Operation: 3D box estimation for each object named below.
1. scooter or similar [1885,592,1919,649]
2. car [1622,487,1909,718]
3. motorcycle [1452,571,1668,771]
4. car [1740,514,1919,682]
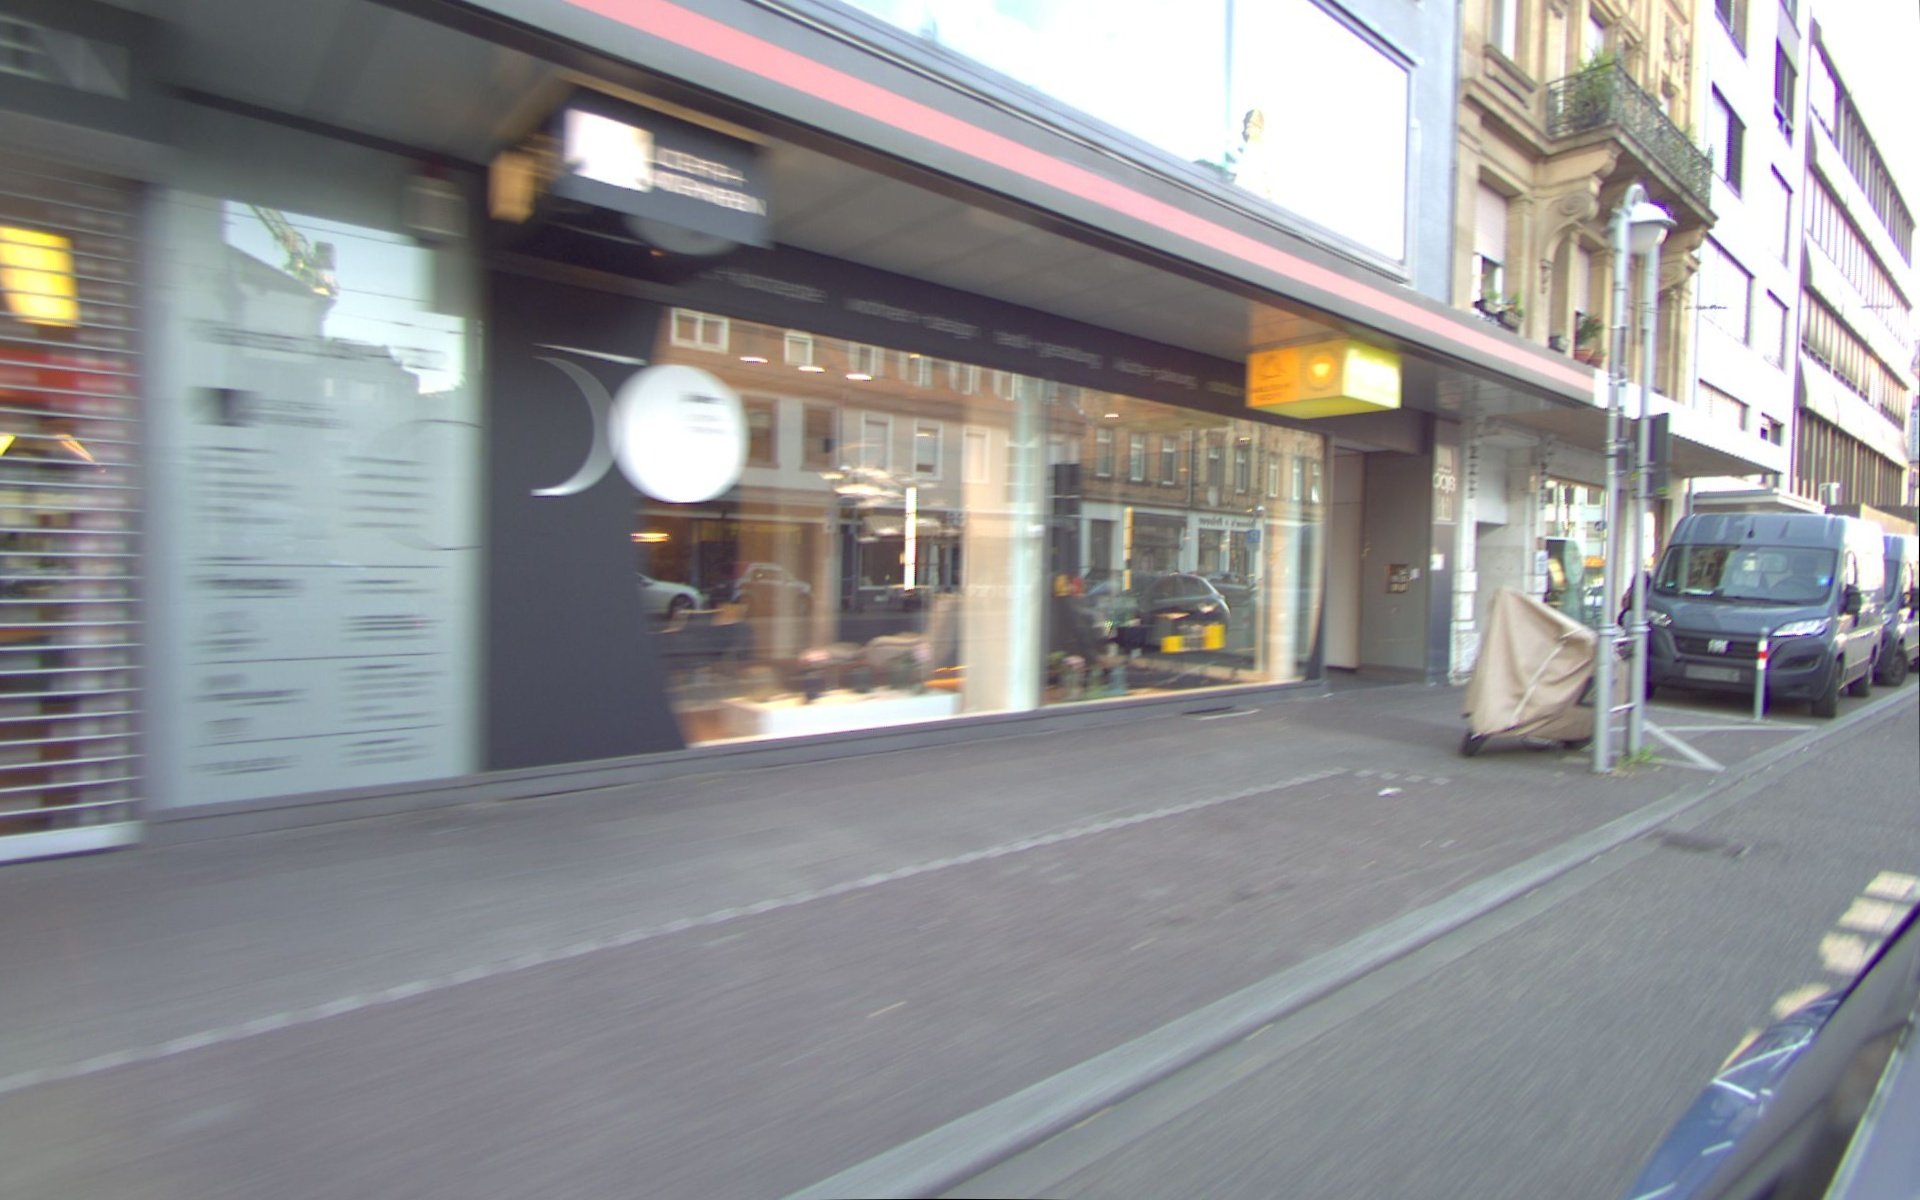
[{"bbox_3d":[21.446,0.462,22.537,1.240,1.235,0.500,1,1,-3],"label":"scooter or similar"},{"bbox_3d":[10.801,-0.061,13.392,5.317,2.484,2.037,-1,4,-42],"label":"car"},{"bbox_3d":[5.056,0.505,8.469,2.127,1.436,0.846,-1,5,-41],"label":"motorcycle"},{"bbox_3d":[15.766,-0.113,17.743,5.927,2.485,2.097,-1,3,-41],"label":"car"}]
